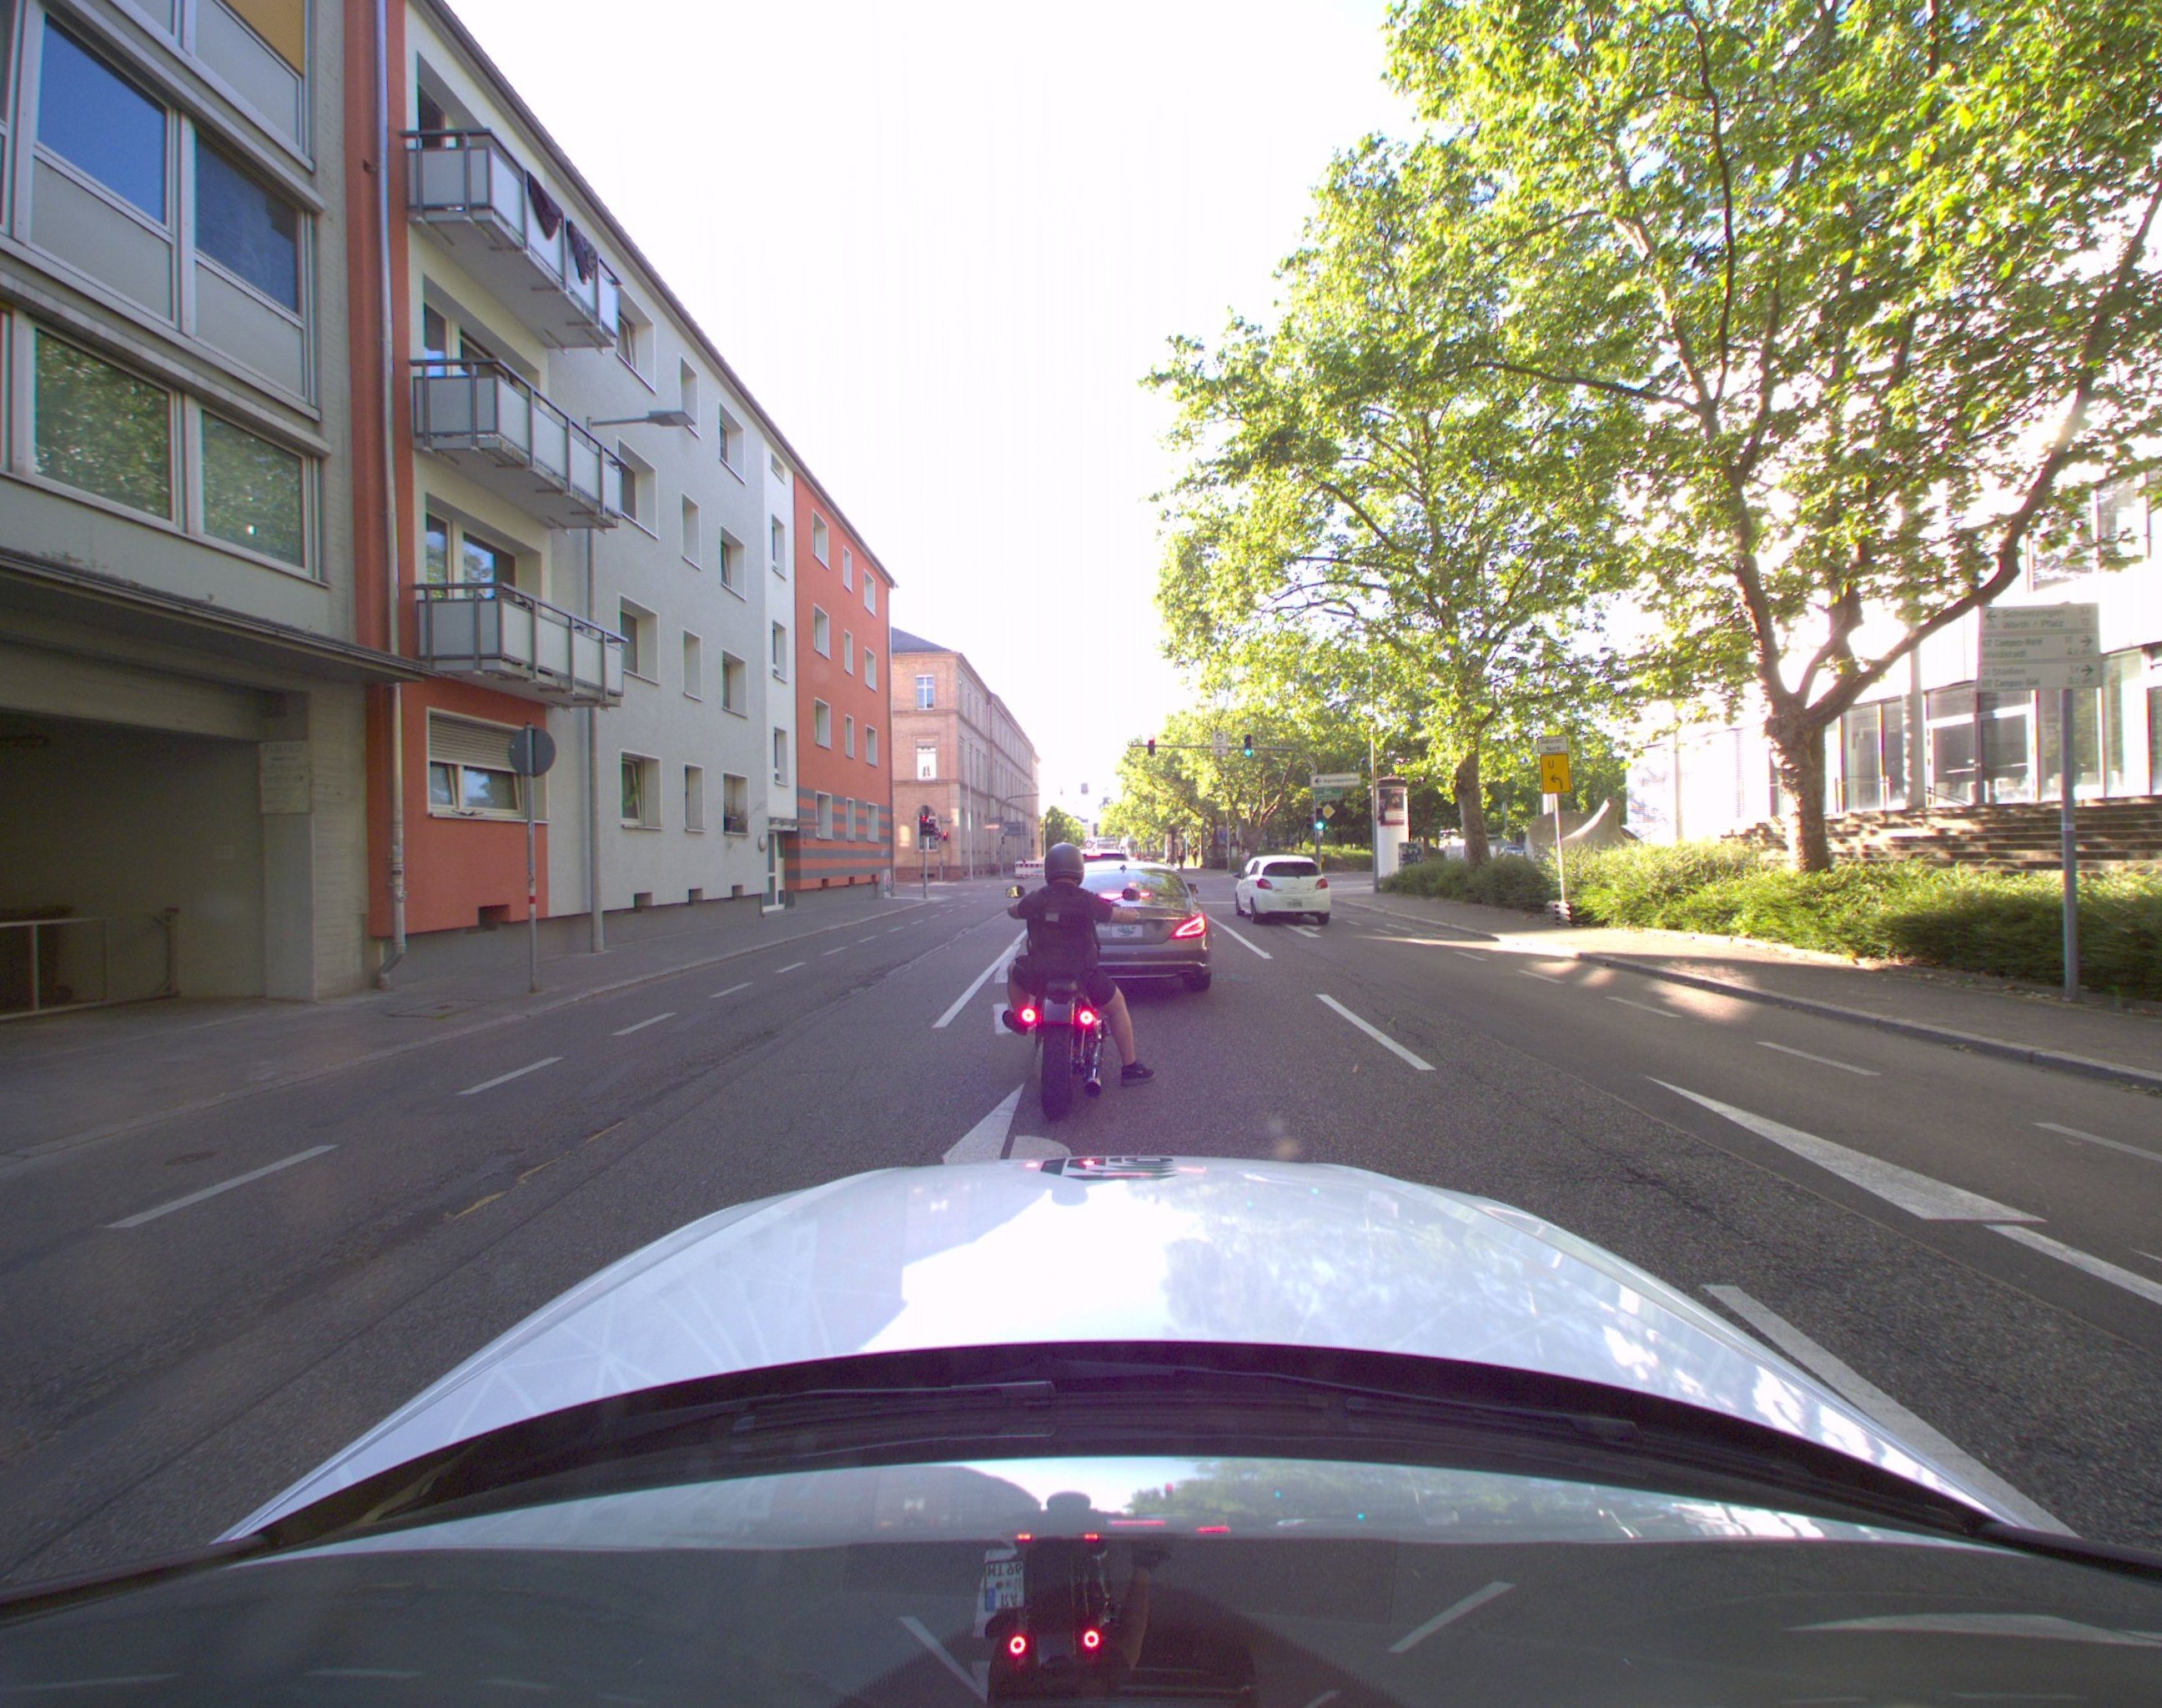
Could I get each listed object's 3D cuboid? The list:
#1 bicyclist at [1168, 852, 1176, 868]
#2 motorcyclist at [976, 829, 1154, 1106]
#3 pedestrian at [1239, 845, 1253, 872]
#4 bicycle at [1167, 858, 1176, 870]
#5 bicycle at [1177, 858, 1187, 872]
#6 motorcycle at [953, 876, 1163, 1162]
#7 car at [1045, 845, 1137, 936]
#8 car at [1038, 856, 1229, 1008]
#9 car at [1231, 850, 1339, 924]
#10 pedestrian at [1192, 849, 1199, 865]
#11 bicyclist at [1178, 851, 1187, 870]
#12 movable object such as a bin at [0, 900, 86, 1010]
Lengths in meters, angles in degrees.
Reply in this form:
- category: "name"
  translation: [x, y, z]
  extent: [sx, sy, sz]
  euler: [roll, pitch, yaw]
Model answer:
- category: "bicyclist"
  translation: [8.608, 0.553, 77.224]
  extent: [0.653, 1.530, 0.906]
  euler: [0, -1, 1]
- category: "motorcyclist"
  translation: [-0.073, 0.662, 5.474]
  extent: [1.008, 1.602, 1.406]
  euler: [-1, 0, 1]
- category: "pedestrian"
  translation: [10.754, 0.305, 53.107]
  extent: [0.574, 1.774, 0.619]
  euler: [1, -1, -33]
- category: "bicycle"
  translation: [8.606, 0.909, 77.228]
  extent: [0.653, 1.111, 2.186]
  euler: [0, 0, 2]
- category: "bicycle"
  translation: [8.364, 0.909, 67.392]
  extent: [0.653, 1.070, 1.927]
  euler: [0, 0, 2]
- category: "motorcycle"
  translation: [-0.075, 0.849, 5.347]
  extent: [1.008, 1.306, 2.673]
  euler: [-1, 0, 2]
- category: "car"
  translation: [0.101, 0.685, 16.832]
  extent: [1.627, 1.650, 3.845]
  euler: [0, 0, -4]
- category: "car"
  translation: [0.563, 0.757, 9.736]
  extent: [1.821, 1.420, 3.816]
  euler: [-1, 0, 2]
- category: "car"
  translation: [4.482, 0.681, 18.424]
  extent: [1.672, 1.498, 3.687]
  euler: [0, 0, 2]
- category: "pedestrian"
  translation: [11.629, 0.334, 82.664]
  extent: [0.590, 1.578, 0.527]
  euler: [0, -1, 2]
- category: "bicyclist"
  translation: [8.371, 0.518, 67.466]
  extent: [0.653, 1.530, 0.852]
  euler: [0, -1, 1]
- category: "movable object such as a bin"
  translation: [-11.223, 1.058, 8.652]
  extent: [0.487, 1.088, 0.654]
  euler: [-1, 0, 1]
